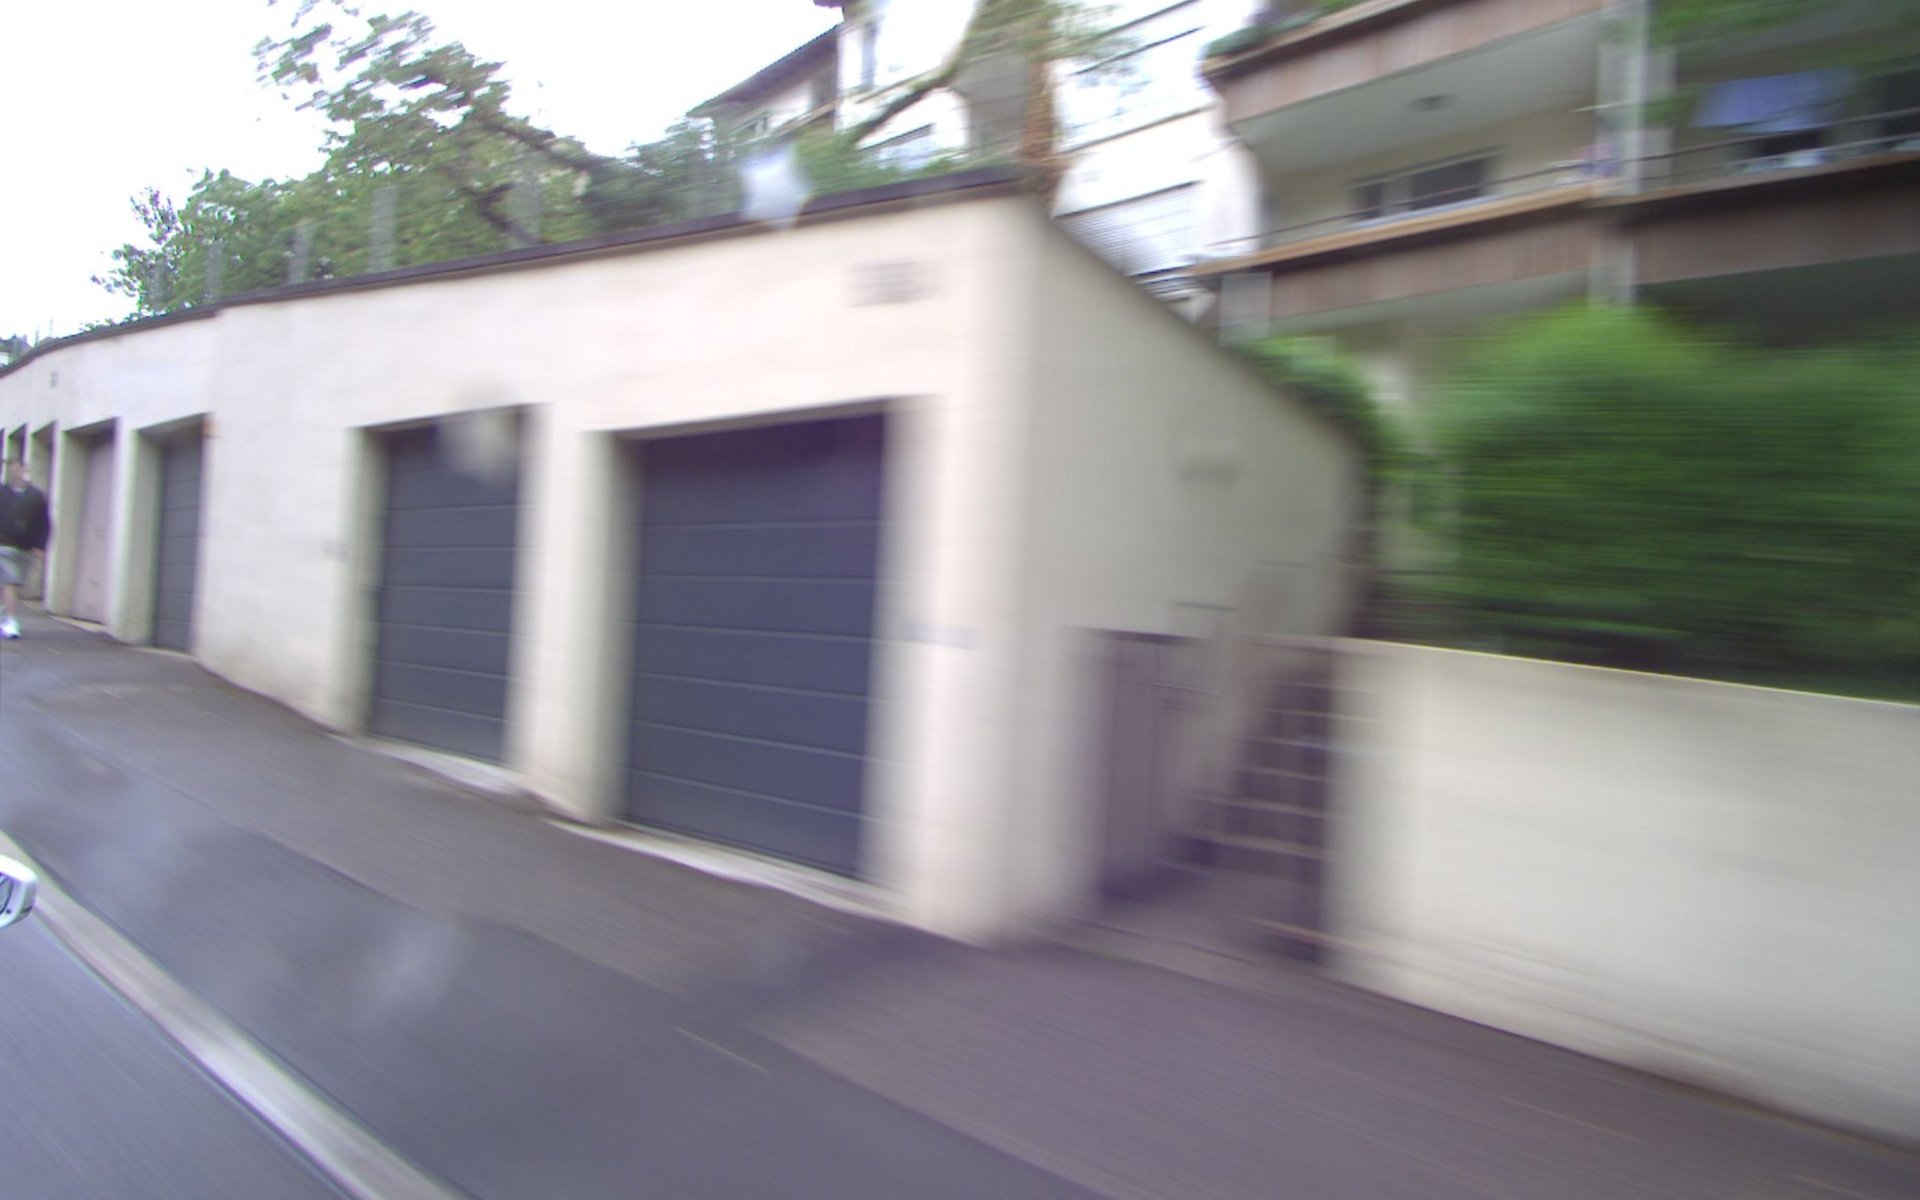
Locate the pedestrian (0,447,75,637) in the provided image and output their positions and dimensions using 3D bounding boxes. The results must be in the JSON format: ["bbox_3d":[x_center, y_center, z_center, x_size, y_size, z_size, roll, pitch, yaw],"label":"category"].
[{"bbox_3d":[-9.857,-0.610,10.346,0.791,1.874,0.898,7,1,38],"label":"pedestrian"}]

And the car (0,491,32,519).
[{"bbox_3d":[-60.010,-6.005,62.653,1.787,1.471,4.571,6,-1,-24],"label":"car"}]
